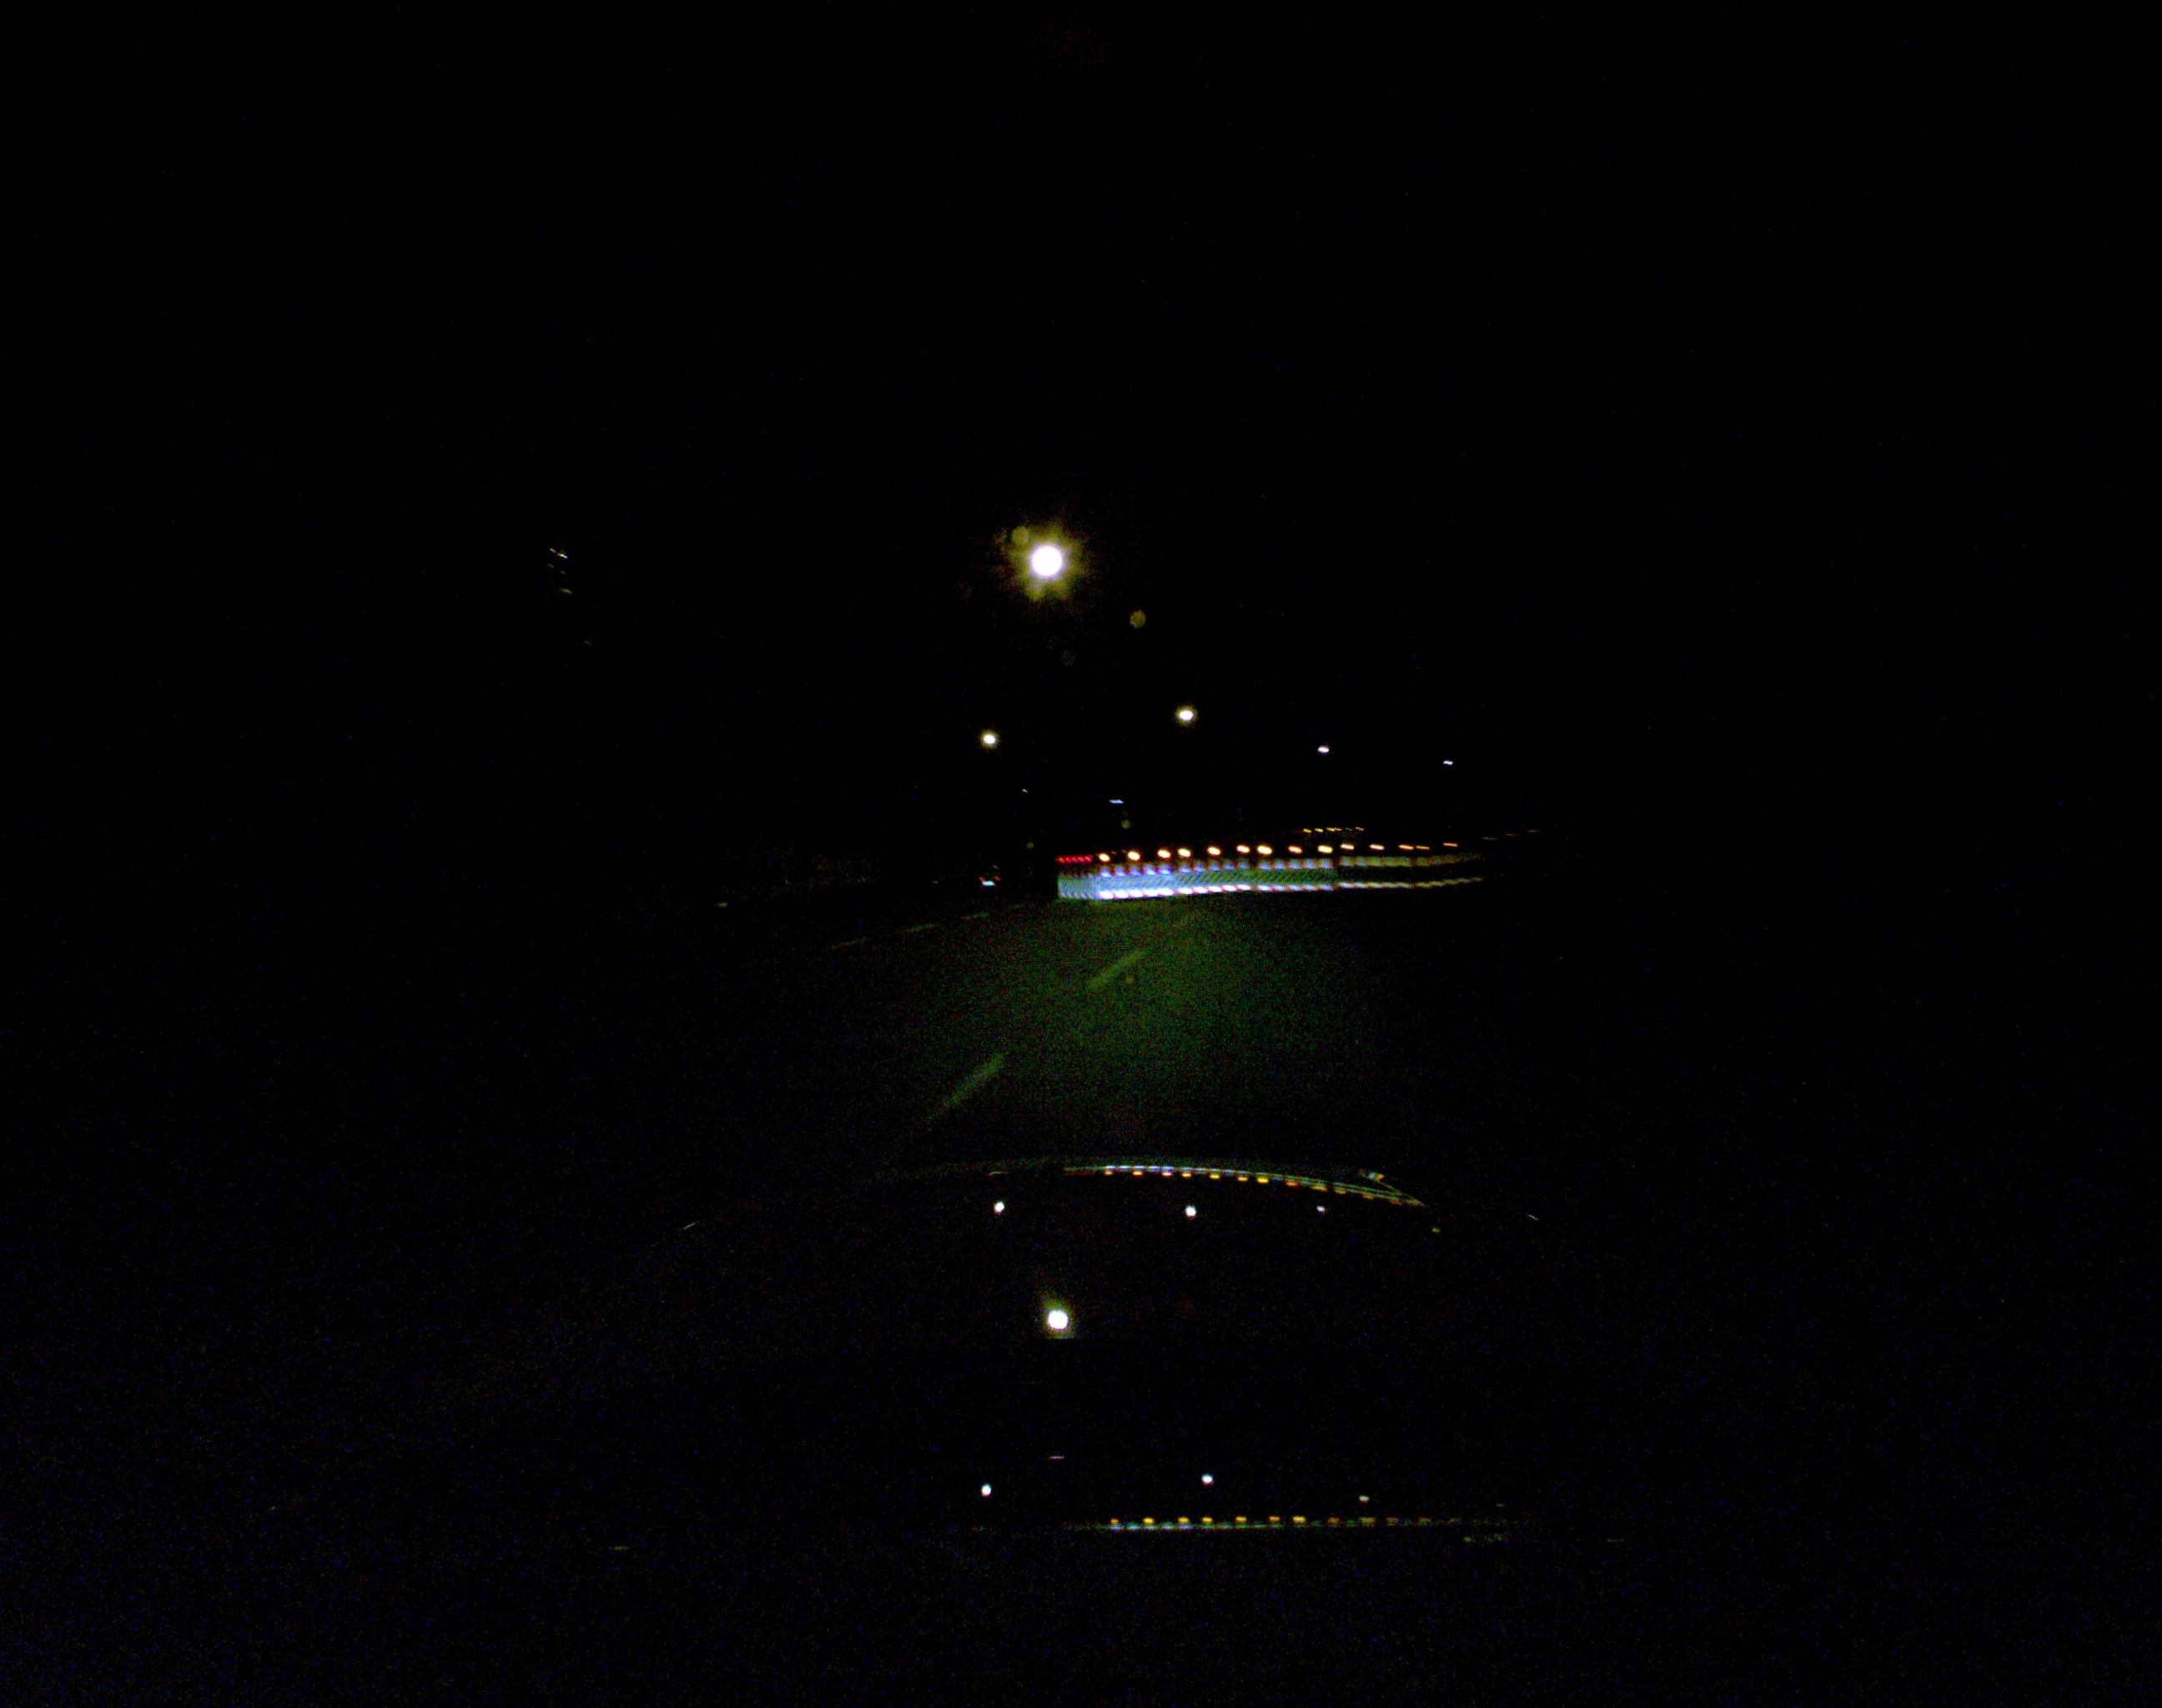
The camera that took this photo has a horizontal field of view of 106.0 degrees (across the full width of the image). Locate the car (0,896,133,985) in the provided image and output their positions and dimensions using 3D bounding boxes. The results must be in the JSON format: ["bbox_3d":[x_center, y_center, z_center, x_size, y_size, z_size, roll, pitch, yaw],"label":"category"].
[{"bbox_3d":[-34.332,2.789,25.338,1.977,2.554,5.908,-1,0,20],"label":"car"}]

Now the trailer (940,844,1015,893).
[{"bbox_3d":[-5.131,0.743,39.733,1.570,2.160,5.169,-3,-1,-31],"label":"trailer"}]

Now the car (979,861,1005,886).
[{"bbox_3d":[-6.732,1.464,61.883,1.717,1.821,3.994,-1,-1,-3],"label":"car"}]

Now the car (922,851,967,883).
[{"bbox_3d":[-14.835,1.336,89.043,2.504,3.171,7.157,-4,0,10],"label":"car"}]

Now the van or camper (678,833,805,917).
[{"bbox_3d":[-14.434,0.825,35.355,2.513,3.094,7.437,-4,0,-3],"label":"van or camper"}]

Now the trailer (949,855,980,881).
[{"bbox_3d":[-13.610,1.603,95.420,1.981,2.813,4.717,-2,0,11],"label":"trailer"}]

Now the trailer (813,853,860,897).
[{"bbox_3d":[-15.411,1.278,51.504,1.990,2.527,3.563,-4,0,-4],"label":"trailer"}]

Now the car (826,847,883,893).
[{"bbox_3d":[-16.126,1.116,58.508,2.516,2.927,7.187,-4,0,-6],"label":"car"}]

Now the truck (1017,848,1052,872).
[{"bbox_3d":[-7.027,0.903,124.854,1.977,3.404,9.024,-1,0,20],"label":"truck"}]

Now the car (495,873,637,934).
[{"bbox_3d":[-28.015,2.596,44.687,1.977,2.841,6.714,-1,0,20],"label":"car"}]

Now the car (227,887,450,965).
[{"bbox_3d":[-30.854,2.868,34.273,1.977,2.554,6.714,-1,1,20],"label":"car"}]

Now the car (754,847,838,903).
[{"bbox_3d":[-15.339,1.085,44.323,2.515,2.606,7.077,-4,0,-5],"label":"car"}]

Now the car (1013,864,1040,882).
[{"bbox_3d":[-5.487,1.913,82.909,1.709,1.821,4.012,-1,-1,11],"label":"car"}]
